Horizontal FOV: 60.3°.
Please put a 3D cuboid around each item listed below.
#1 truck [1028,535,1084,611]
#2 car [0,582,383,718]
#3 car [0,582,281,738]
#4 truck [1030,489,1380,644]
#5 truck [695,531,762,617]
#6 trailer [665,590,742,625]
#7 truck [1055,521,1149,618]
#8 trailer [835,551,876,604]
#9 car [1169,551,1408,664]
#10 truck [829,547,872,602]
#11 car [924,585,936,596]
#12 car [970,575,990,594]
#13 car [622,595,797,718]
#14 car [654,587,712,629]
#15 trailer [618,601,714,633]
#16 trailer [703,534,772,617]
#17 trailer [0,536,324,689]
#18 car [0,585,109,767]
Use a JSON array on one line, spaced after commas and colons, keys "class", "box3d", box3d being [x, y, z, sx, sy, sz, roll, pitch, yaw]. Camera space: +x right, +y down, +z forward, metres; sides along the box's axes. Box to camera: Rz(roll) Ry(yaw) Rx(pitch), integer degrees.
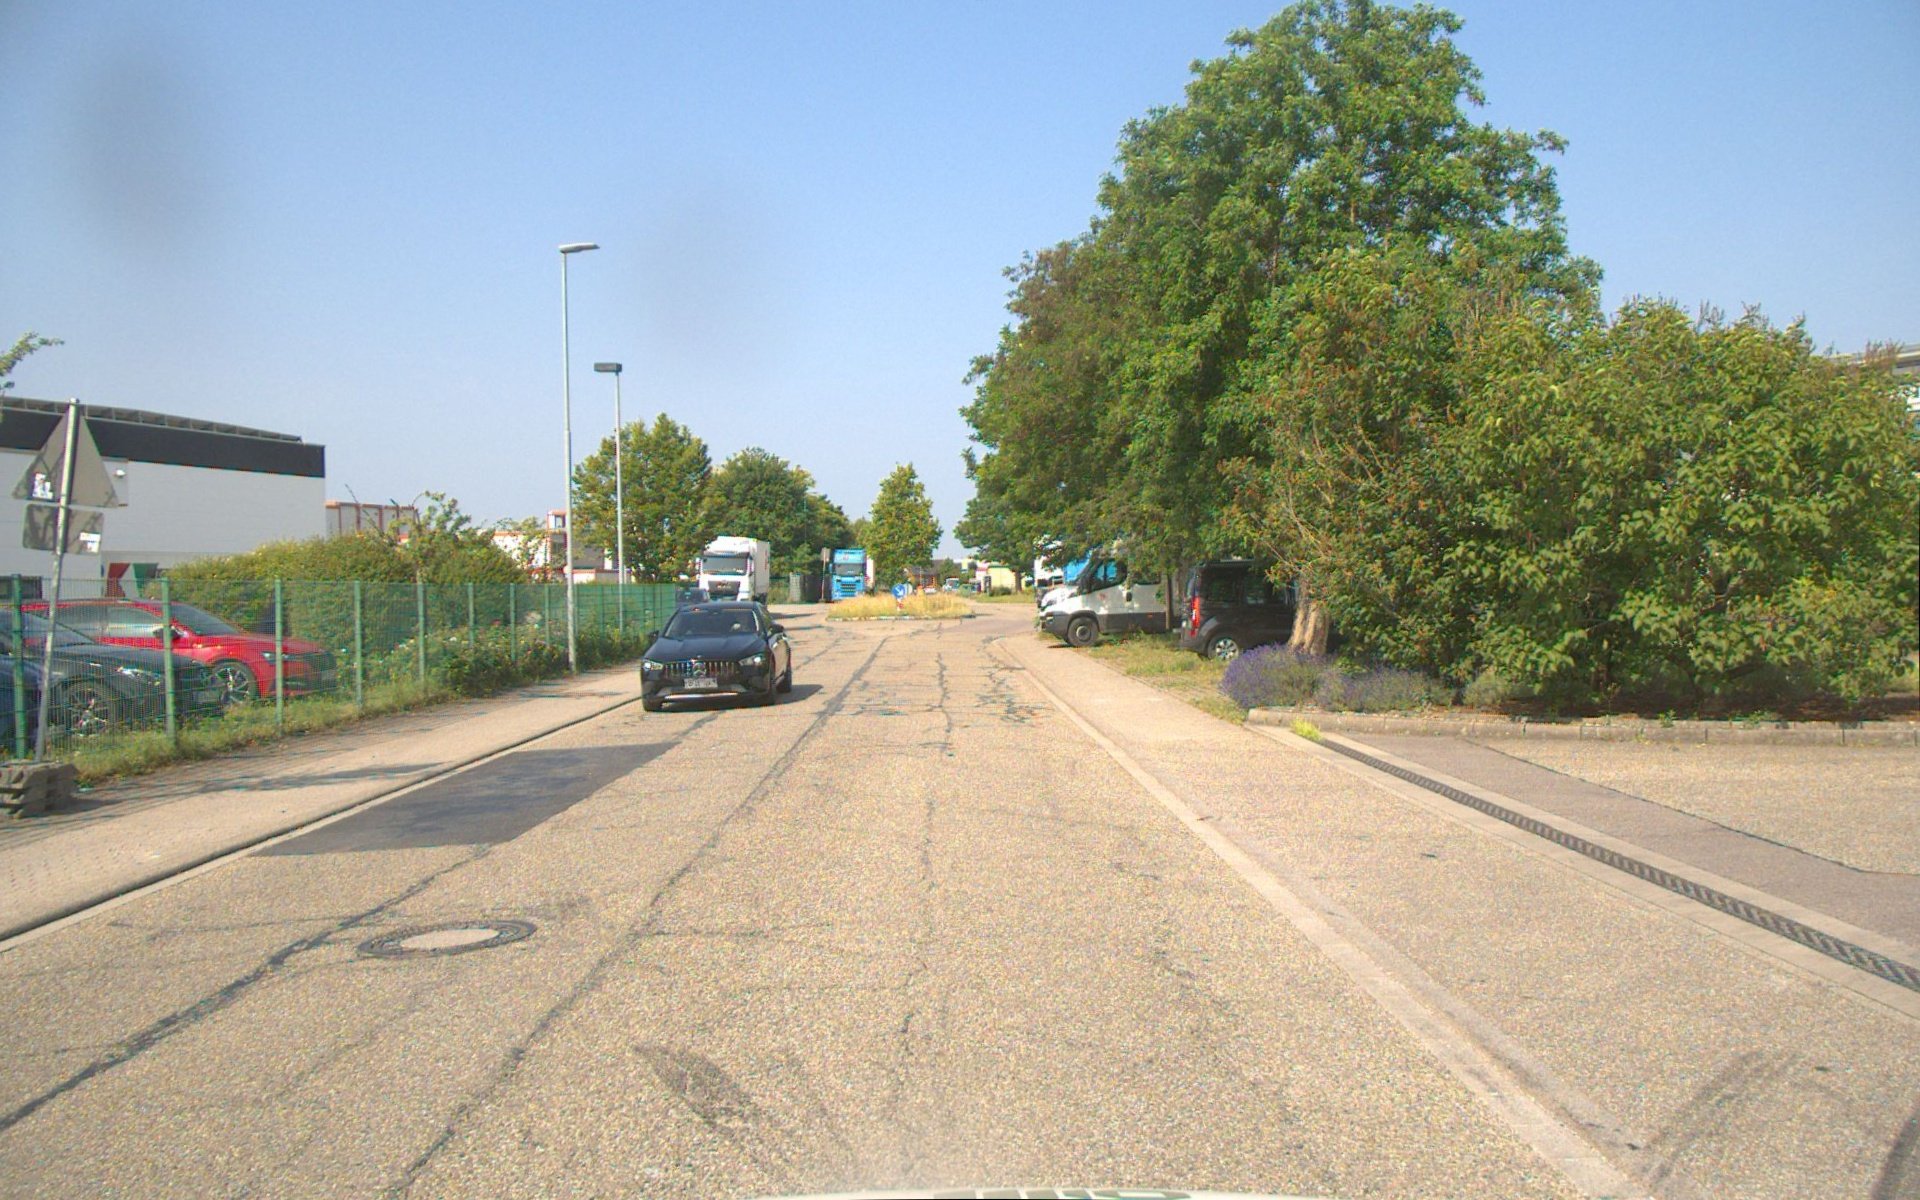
[{"class": "truck", "box3d": [5.422, -1.523, 93.812, 2.690, 4.050, 3.999, -4, 0, -1]}, {"class": "car", "box3d": [-10.031, 0.619, 21.299, 4.445, 1.469, 1.951, -3, 0, -2]}, {"class": "car", "box3d": [-9.599, 0.644, 17.543, 3.959, 1.469, 1.873, -3, 0, -2]}, {"class": "truck", "box3d": [5.876, -0.784, 40.547, 8.043, 3.429, 2.740, -2, -1, -2]}, {"class": "truck", "box3d": [-11.115, -1.190, 79.801, 2.654, 3.990, 4.295, 1, -1, -2]}, {"class": "trailer", "box3d": [-11.292, 0.308, 73.201, 2.626, 1.479, 5.077, 0, 1, 0]}, {"class": "truck", "box3d": [5.877, -1.163, 69.871, 2.830, 3.596, 9.754, -4, 0, 0]}, {"class": "trailer", "box3d": [-8.385, -1.735, 133.703, 2.774, 3.910, 12.032, 1, -1, -1]}, {"class": "car", "box3d": [5.871, 0.123, 29.905, 3.905, 1.870, 2.000, -1, 0, 0]}, {"class": "truck", "box3d": [-8.189, -1.826, 124.456, 2.768, 3.893, 9.669, 1, -1, -1]}, {"class": "car", "box3d": [-4.591, -1.493, 255.100, 1.684, 1.690, 3.821, 1, -1, -3]}, {"class": "car", "box3d": [1.996, -1.507, 165.141, 1.756, 1.780, 3.998, 1, -1, -2]}, {"class": "car", "box3d": [-3.491, 0.726, 23.841, 1.954, 1.474, 4.417, -3, 0, -3]}, {"class": "car", "box3d": [-11.193, 0.283, 67.065, 1.661, 1.588, 4.335, 2, 1, -1]}, {"class": "trailer", "box3d": [-10.626, 0.582, 60.318, 2.496, 0.941, 6.707, 2, 1, -2]}, {"class": "trailer", "box3d": [-11.240, -1.138, 84.186, 2.645, 3.990, 7.572, 1, -1, -2]}, {"class": "trailer", "box3d": [-25.127, 0.419, 51.275, 2.429, 4.112, 13.898, 1, -1, 15]}, {"class": "car", "box3d": [-9.768, 0.707, 14.117, 3.959, 1.469, 1.873, -3, 0, -2]}]
